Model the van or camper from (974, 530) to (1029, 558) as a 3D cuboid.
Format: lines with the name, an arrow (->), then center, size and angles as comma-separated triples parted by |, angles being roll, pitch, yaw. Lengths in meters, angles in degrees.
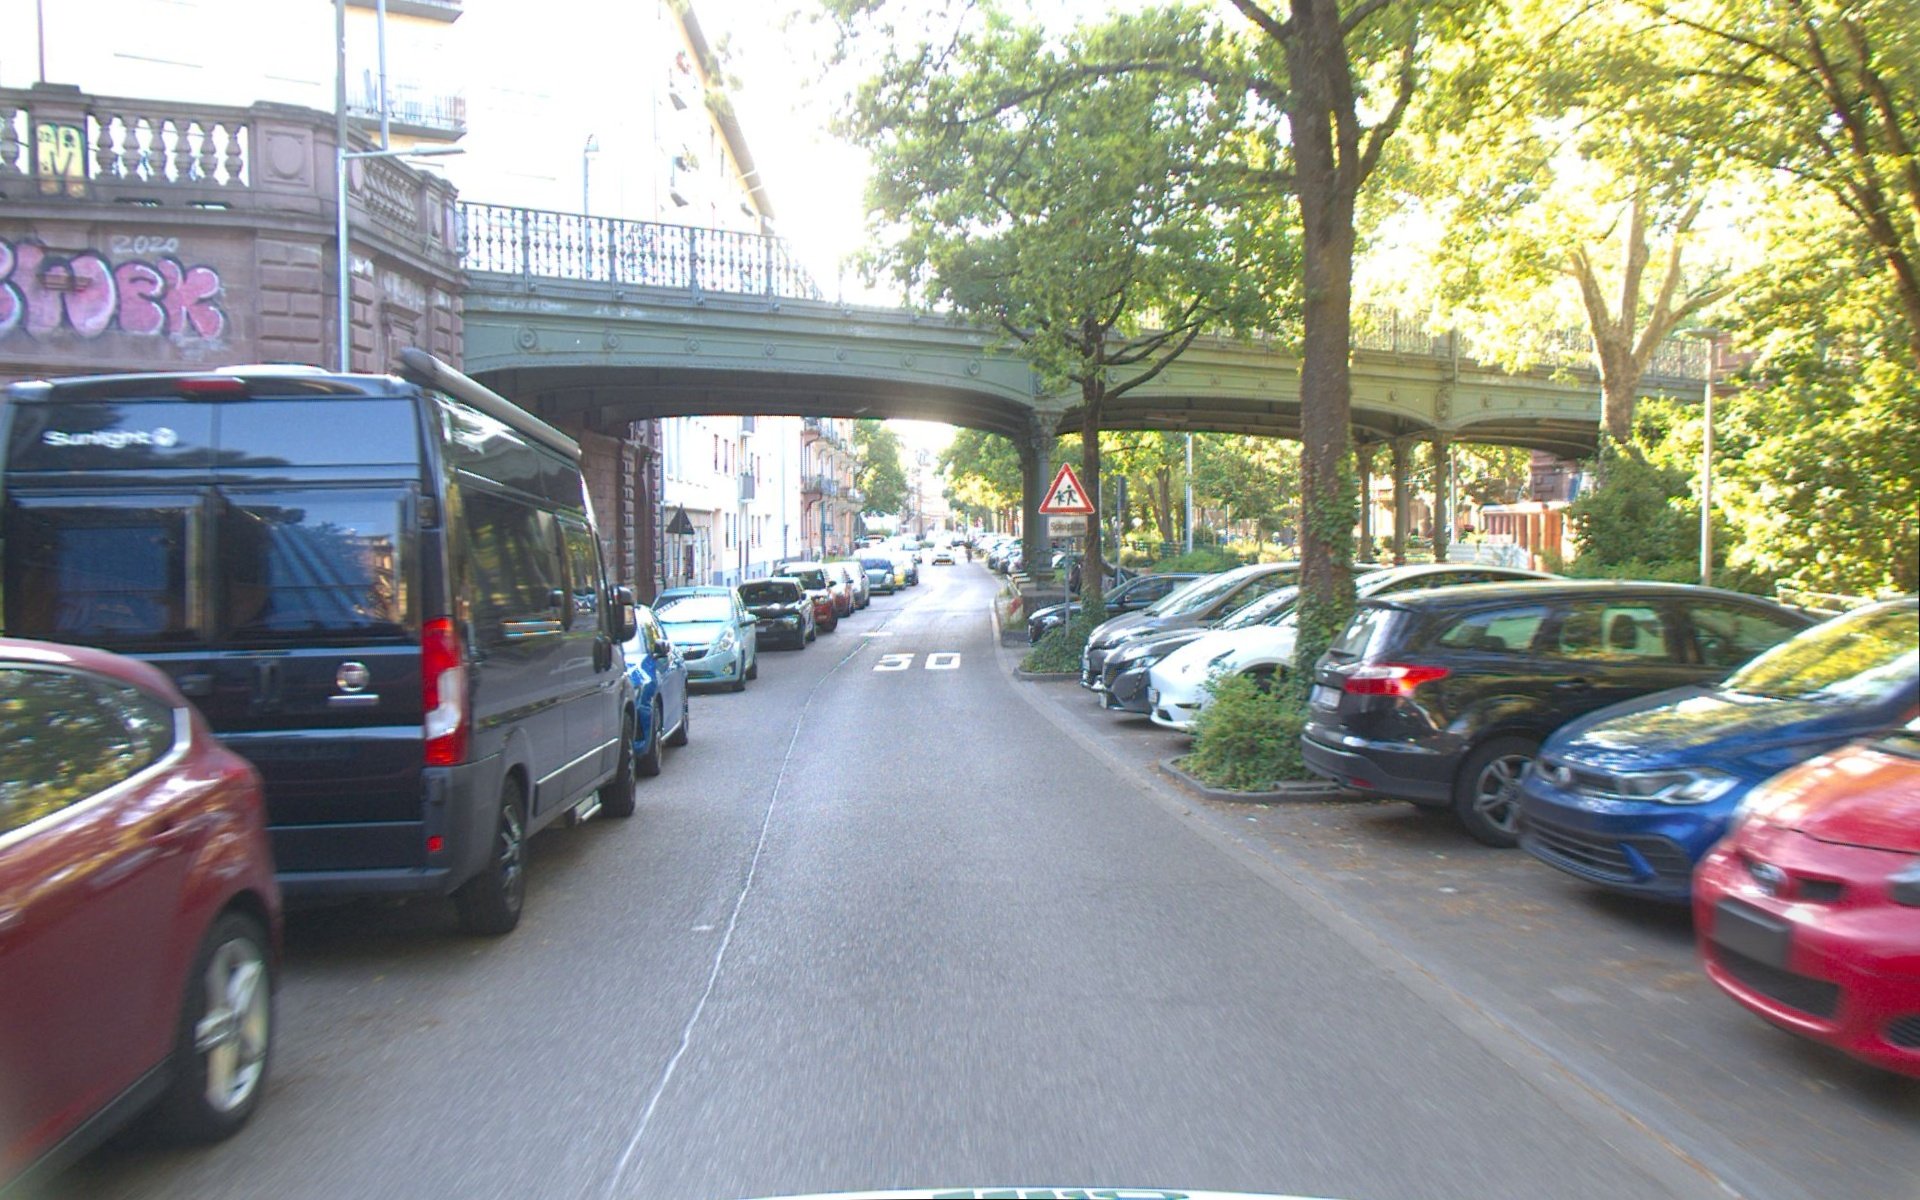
van or camper -> 3.780, -5.107, 150.639 | 4.881, 2.418, 2.184 | 1, 0, -2

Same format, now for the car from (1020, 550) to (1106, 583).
car -> 4.679, -1.534, 75.665 | 3.708, 1.426, 1.765 | -1, 1, -4

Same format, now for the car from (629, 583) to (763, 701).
car -> -3.970, 0.571, 25.377 | 1.563, 1.574, 3.913 | -2, 1, -3

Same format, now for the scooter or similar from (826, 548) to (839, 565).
scooter or similar -> -9.460, -3.225, 122.410 | 0.767, 1.243, 2.704 | 1, 0, 0

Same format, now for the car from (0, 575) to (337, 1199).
car -> -2.782, 0.748, 3.174 | 1.665, 1.533, 4.227 | -2, 0, -2

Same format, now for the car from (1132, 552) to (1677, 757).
car -> 3.922, 0.464, 15.109 | 4.441, 1.725, 1.907 | 1, 0, -2

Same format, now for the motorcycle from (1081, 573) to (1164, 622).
motorcycle -> 3.892, -0.066, 39.670 | 1.807, 1.152, 0.844 | 0, 0, -24

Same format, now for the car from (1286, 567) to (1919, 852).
car -> 4.155, 0.624, 10.202 | 3.940, 1.601, 1.586 | 1, 0, -2

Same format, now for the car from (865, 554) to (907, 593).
car -> -3.138, -1.158, 70.831 | 1.668, 1.551, 3.774 | -1, 2, -1

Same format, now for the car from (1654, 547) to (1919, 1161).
car -> 4.440, 0.674, 5.145 | 3.907, 1.601, 1.586 | 1, 0, -2

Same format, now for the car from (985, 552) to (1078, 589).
car -> 2.899, -1.194, 67.757 | 3.704, 1.426, 1.827 | -1, 1, 1

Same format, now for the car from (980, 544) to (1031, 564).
car -> 3.803, -3.874, 138.127 | 4.131, 1.478, 1.650 | -2, 2, 4

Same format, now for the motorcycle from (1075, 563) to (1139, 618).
motorcycle -> 3.913, -0.247, 43.963 | 1.567, 1.433, 0.713 | 1, 0, 20

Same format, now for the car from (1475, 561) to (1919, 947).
car -> 4.614, 0.652, 7.740 | 3.907, 1.601, 1.586 | 1, 0, -2

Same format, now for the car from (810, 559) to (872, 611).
car -> -3.821, -0.506, 53.532 | 1.603, 1.492, 4.001 | -3, 2, 0

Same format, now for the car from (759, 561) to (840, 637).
car -> -3.945, -0.076, 41.207 | 1.682, 1.737, 4.321 | -2, 2, -2

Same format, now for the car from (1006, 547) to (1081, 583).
car -> 4.195, -1.755, 83.502 | 3.704, 1.675, 1.664 | -1, 0, 0

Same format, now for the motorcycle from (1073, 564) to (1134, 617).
motorcycle -> 4.012, -0.266, 46.180 | 1.567, 1.433, 0.713 | 1, 0, 20

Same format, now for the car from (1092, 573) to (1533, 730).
car -> 3.664, 0.520, 17.718 | 4.286, 1.559, 1.875 | 1, 0, -2

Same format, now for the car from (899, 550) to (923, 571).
car -> -3.672, -2.972, 124.662 | 1.472, 1.459, 2.755 | -1, 2, 4

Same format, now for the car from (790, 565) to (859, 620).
car -> -3.951, -0.252, 48.747 | 1.654, 1.466, 4.001 | -1, 2, 0

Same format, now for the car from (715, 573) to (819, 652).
car -> -4.056, 0.219, 35.306 | 1.681, 1.489, 4.001 | -2, 2, 0

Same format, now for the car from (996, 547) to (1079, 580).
car -> 4.156, -1.928, 88.226 | 4.306, 1.605, 1.665 | -1, 0, 4

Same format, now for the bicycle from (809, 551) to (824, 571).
bicycle -> -9.072, -2.477, 104.400 | 0.721, 1.227, 2.515 | 1, 3, 0

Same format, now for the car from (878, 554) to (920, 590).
car -> -2.770, -1.316, 75.703 | 1.703, 1.505, 4.001 | -2, 2, 1

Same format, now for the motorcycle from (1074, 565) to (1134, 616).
motorcycle -> 4.089, -0.273, 46.998 | 1.567, 1.433, 0.713 | 1, 0, 20

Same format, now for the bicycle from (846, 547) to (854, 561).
bicycle -> -9.663, -4.018, 145.477 | 0.691, 1.167, 1.888 | 1, 0, -4

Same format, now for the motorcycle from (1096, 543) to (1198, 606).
motorcycle -> 3.831, -0.509, 33.927 | 1.906, 1.259, 0.897 | 0, 0, -26

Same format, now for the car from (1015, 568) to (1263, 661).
car -> 3.201, 0.244, 30.052 | 4.286, 1.605, 1.674 | 1, 0, -2

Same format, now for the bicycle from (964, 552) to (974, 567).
bicycle -> 0.670, -3.049, 124.962 | 0.628, 1.119, 1.943 | 1, 0, -2

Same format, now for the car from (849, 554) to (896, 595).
car -> -3.430, -1.027, 65.170 | 1.534, 1.543, 3.784 | -1, 2, 1

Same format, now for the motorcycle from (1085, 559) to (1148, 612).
motorcycle -> 4.258, -0.399, 44.877 | 1.567, 1.433, 0.713 | 1, 0, 20

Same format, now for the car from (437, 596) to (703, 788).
car -> -3.440, 0.731, 15.360 | 1.710, 1.492, 4.372 | 1, 1, -4

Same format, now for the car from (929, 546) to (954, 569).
car -> -1.332, -3.102, 119.323 | 1.634, 1.455, 4.002 | -3, 3, 0

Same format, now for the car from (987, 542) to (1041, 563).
car -> 4.195, -3.680, 128.381 | 4.000, 1.467, 1.761 | -2, 2, -3

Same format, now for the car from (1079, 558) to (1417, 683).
car -> 3.938, 0.273, 23.194 | 4.490, 1.634, 1.735 | -1, 0, 3

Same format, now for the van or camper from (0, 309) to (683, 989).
van or camper -> -3.047, 0.162, 9.508 | 2.191, 2.567, 6.417 | 1, 0, -4

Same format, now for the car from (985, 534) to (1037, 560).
car -> 4.122, -4.280, 133.665 | 4.133, 1.896, 1.762 | -2, 2, 0

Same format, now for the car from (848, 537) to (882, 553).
car -> -11.324, -6.566, 197.142 | 3.905, 1.735, 2.000 | 1, 0, 0

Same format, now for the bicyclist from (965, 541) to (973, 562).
bicyclist -> 0.674, -3.660, 124.879 | 0.615, 1.600, 0.802 | 1, 0, -2

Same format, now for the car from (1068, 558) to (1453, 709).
car -> 3.588, 0.390, 20.228 | 4.288, 1.738, 1.905 | 1, 0, -5
